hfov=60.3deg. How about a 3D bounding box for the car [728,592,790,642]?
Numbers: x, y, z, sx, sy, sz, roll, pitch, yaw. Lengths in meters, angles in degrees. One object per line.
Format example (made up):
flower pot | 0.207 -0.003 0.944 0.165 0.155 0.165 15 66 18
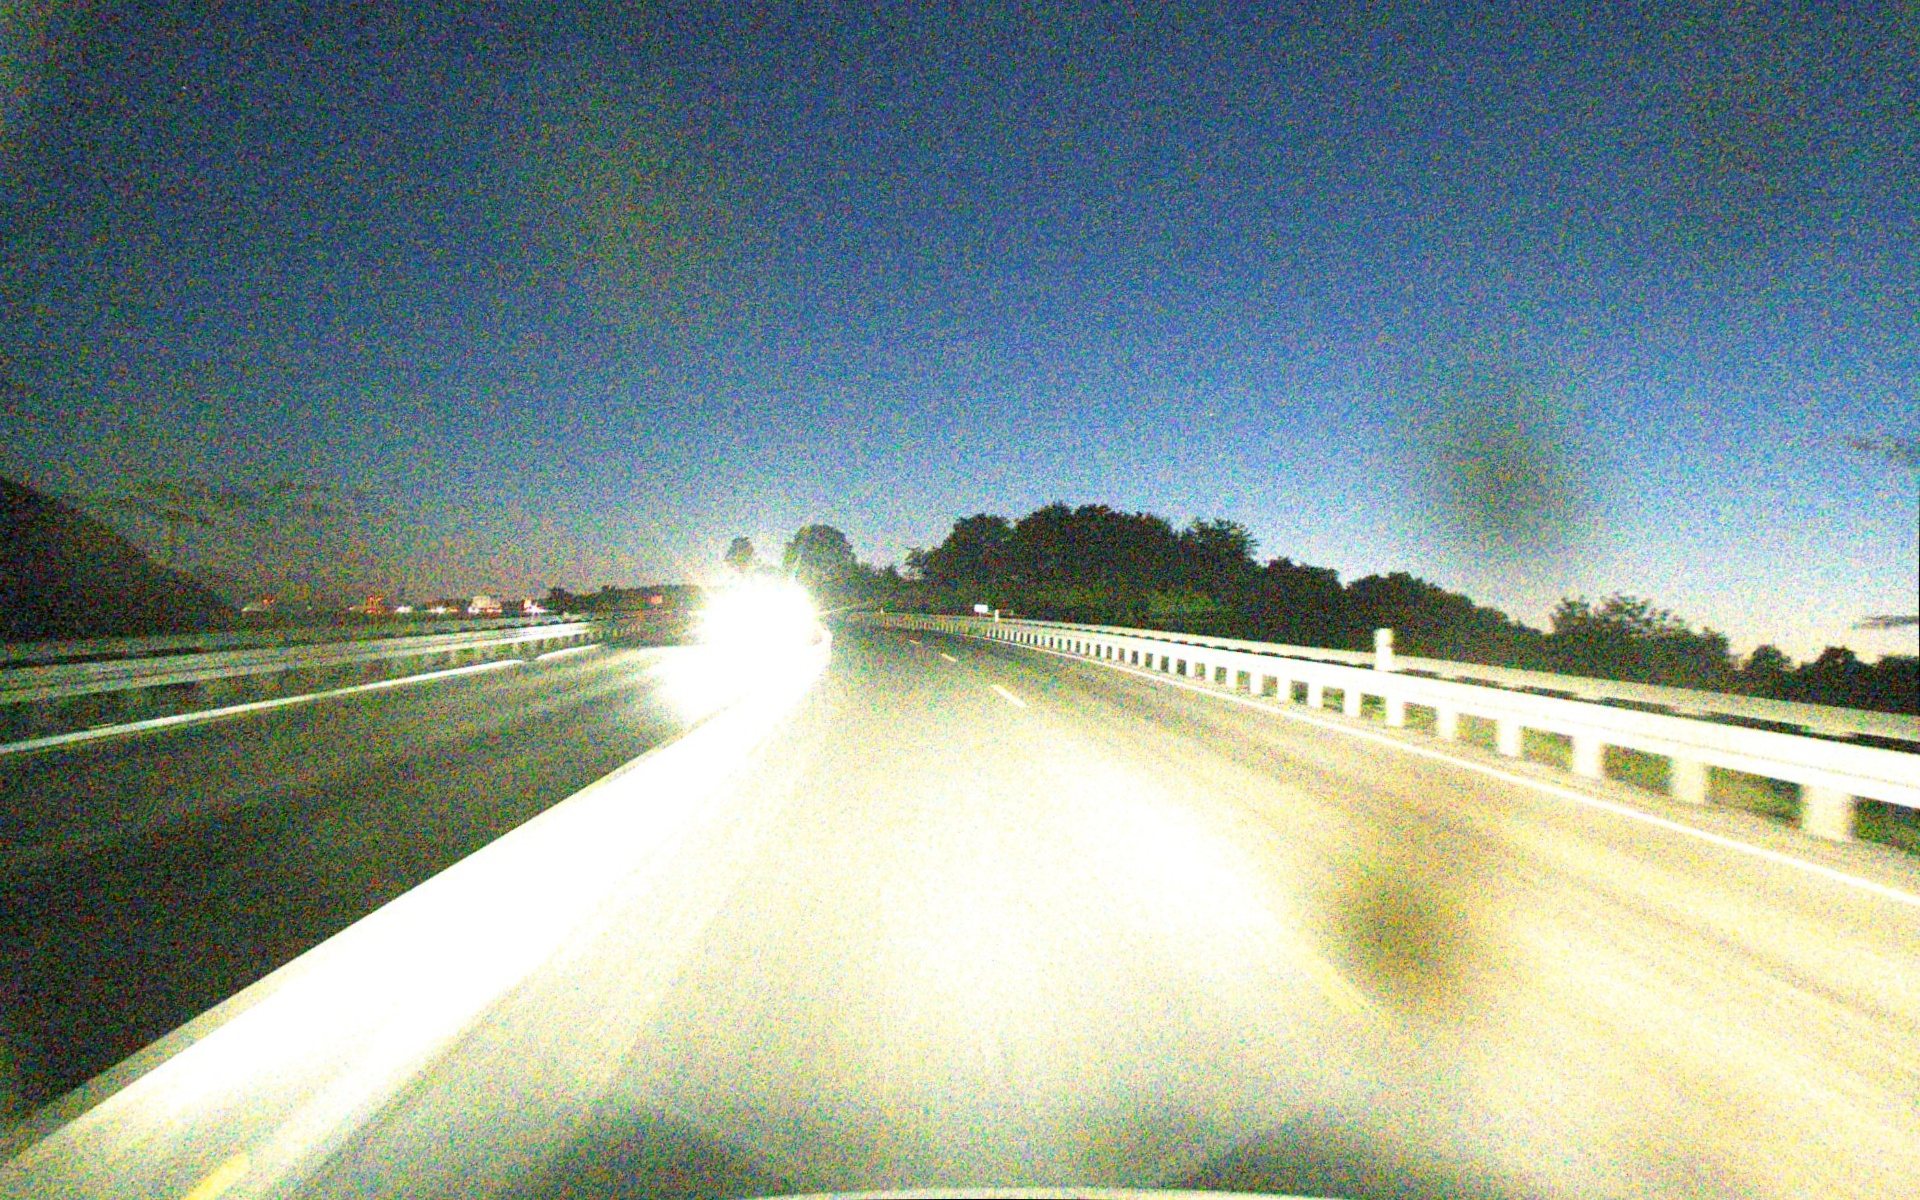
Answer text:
car | -6.587 0.577 54.490 1.783 1.542 4.519 0 -1 -4
